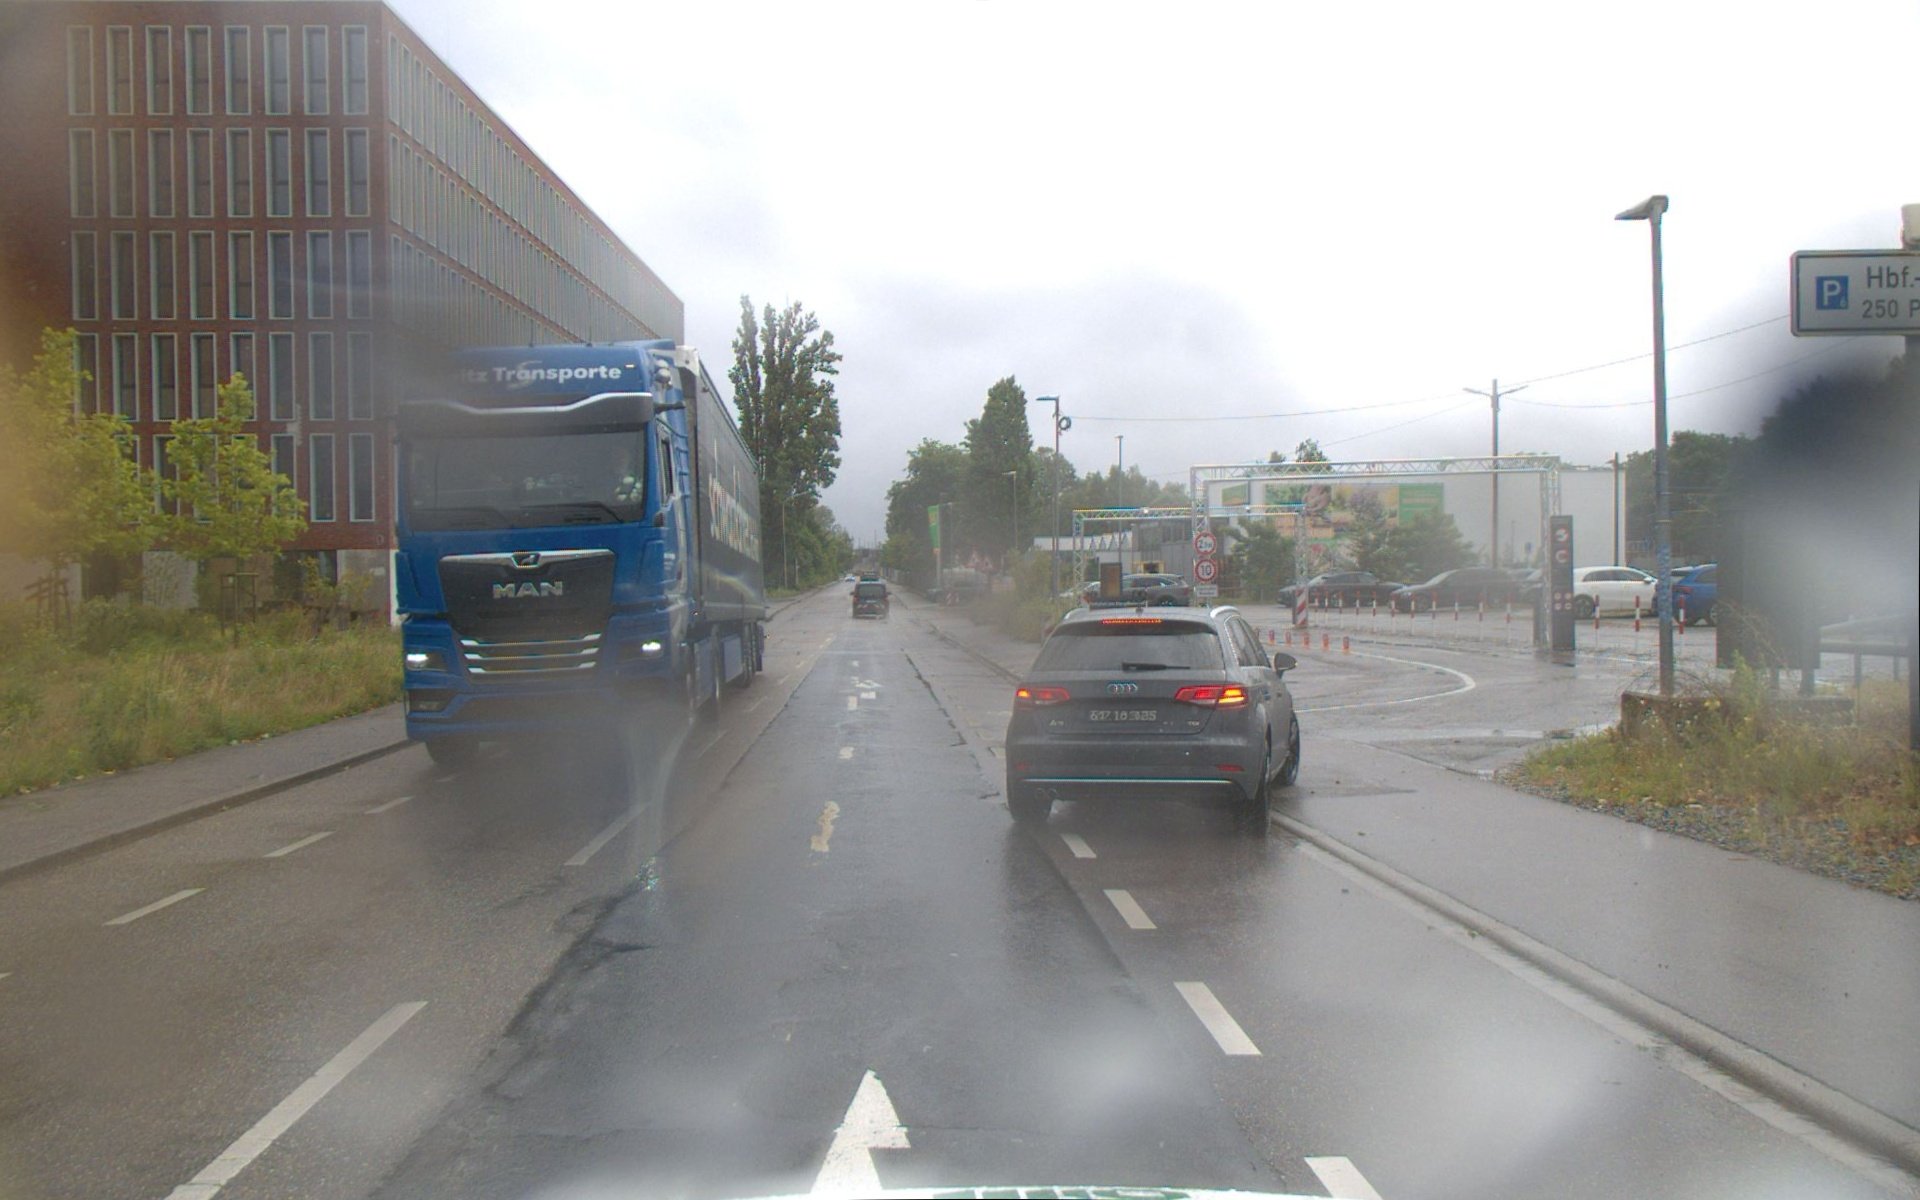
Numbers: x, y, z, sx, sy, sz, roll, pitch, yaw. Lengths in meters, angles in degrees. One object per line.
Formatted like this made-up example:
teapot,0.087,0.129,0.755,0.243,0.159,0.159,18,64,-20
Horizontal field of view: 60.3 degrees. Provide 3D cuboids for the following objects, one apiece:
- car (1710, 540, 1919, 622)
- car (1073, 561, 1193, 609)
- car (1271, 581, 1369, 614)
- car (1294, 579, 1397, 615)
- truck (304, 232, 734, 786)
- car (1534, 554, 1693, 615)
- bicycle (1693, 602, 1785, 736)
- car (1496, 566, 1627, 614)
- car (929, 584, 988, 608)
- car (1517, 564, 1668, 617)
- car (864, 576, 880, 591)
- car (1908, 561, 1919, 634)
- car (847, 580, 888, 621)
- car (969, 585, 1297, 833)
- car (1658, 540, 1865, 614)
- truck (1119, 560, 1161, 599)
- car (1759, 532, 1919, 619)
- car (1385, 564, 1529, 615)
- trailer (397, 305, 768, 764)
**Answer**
car,19.191,-0.406,37.155,3.824,1.611,1.786,-3,-1,-1
car,6.843,-0.596,65.885,4.584,1.765,2.128,-1,-1,1
car,16.012,-0.100,73.655,3.907,1.434,1.999,0,-1,-2
car,16.476,-0.125,70.816,3.907,1.511,1.999,0,-1,-2
truck,-4.204,-0.818,17.292,3.229,4.735,6.027,-1,0,-5
car,18.773,-0.430,47.604,3.752,1.510,1.927,-3,-1,0
bicycle,6.962,0.589,14.834,0.496,1.103,1.704,-1,0,17
car,23.535,-0.370,64.810,4.354,1.633,2.042,-3,-1,-4
car,-0.122,-0.298,114.515,4.052,1.596,1.765,-1,0,-1
car,22.804,-0.320,59.734,4.609,1.633,2.042,-3,-1,-4
car,-9.854,-1.847,185.476,1.695,1.716,3.896,-1,0,-1
car,24.236,-0.160,37.886,3.981,1.688,1.830,-3,-1,-5
car,-4.594,0.024,81.517,1.954,1.944,4.197,-1,0,-4
car,1.472,0.658,12.325,1.854,1.482,4.230,1,0,14
car,19.171,-0.539,39.685,3.963,1.510,1.927,-3,-1,-1
truck,13.444,-1.544,123.748,2.254,2.705,7.416,-2,1,0
car,18.861,-0.517,34.256,3.698,1.611,1.786,-3,-1,-1
car,17.644,-0.361,58.811,4.534,1.746,2.015,0,-1,-9
trailer,-4.693,-0.729,24.024,3.229,4.735,13.720,-1,0,-5
